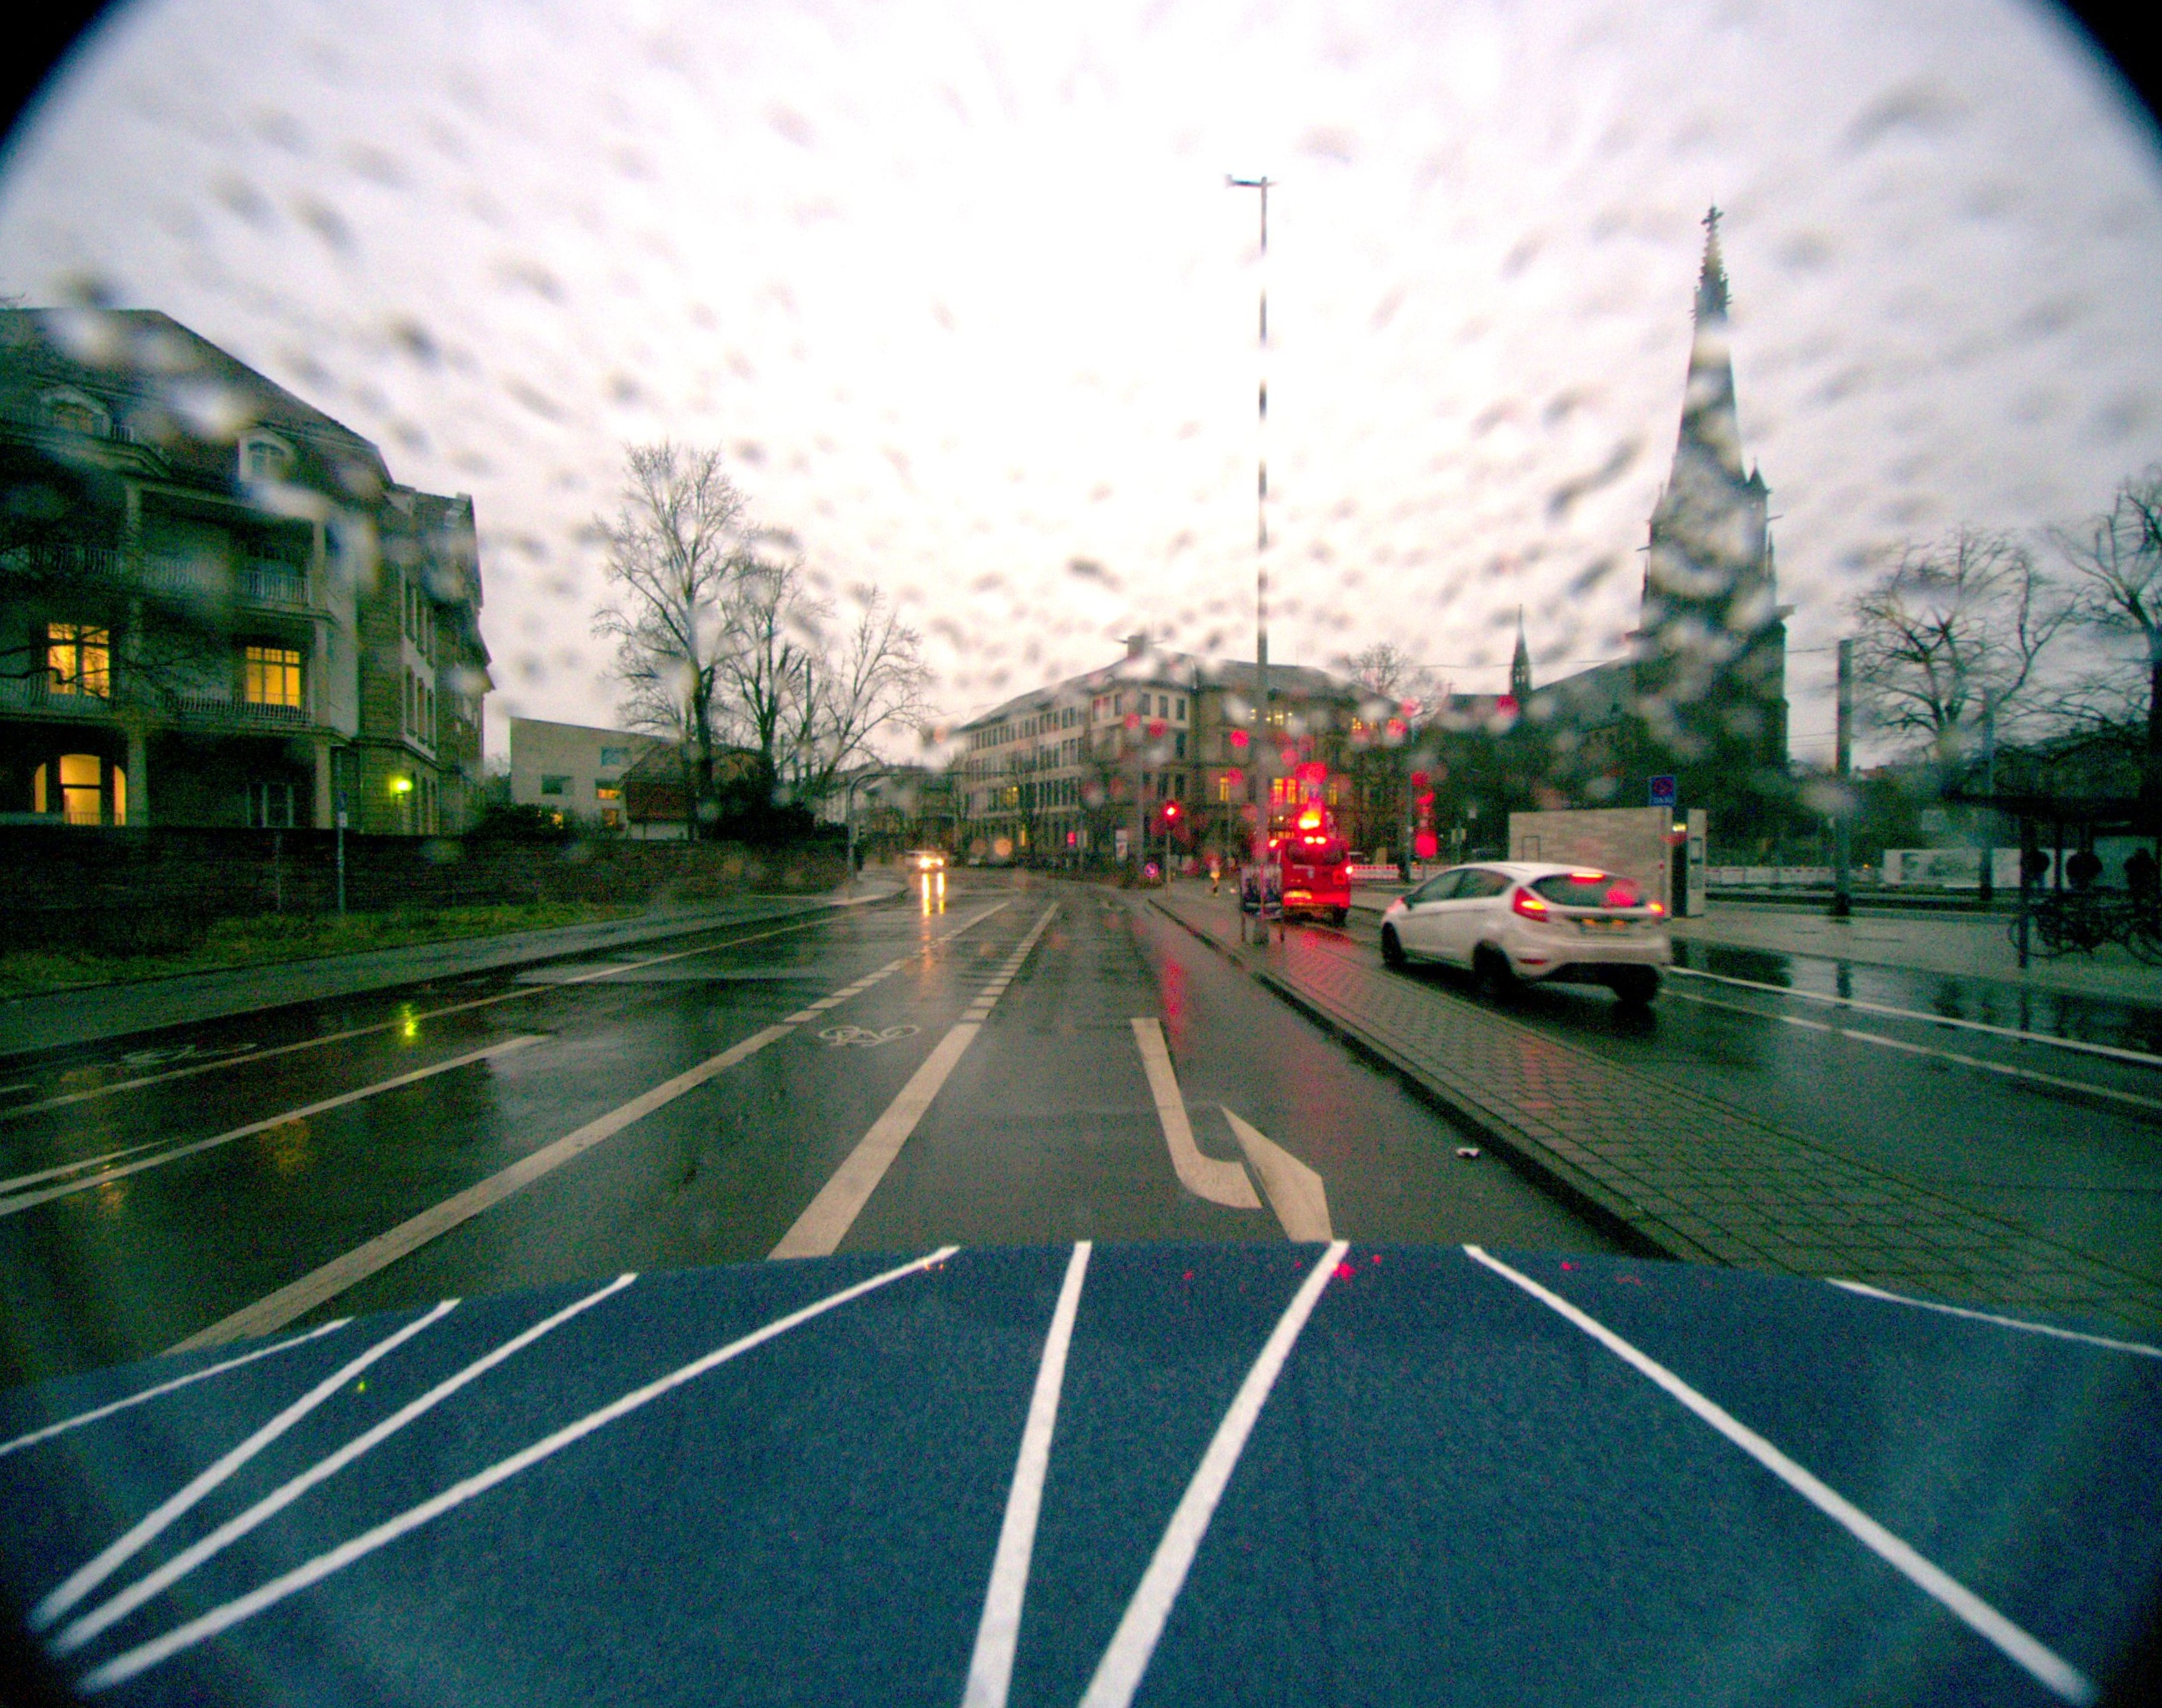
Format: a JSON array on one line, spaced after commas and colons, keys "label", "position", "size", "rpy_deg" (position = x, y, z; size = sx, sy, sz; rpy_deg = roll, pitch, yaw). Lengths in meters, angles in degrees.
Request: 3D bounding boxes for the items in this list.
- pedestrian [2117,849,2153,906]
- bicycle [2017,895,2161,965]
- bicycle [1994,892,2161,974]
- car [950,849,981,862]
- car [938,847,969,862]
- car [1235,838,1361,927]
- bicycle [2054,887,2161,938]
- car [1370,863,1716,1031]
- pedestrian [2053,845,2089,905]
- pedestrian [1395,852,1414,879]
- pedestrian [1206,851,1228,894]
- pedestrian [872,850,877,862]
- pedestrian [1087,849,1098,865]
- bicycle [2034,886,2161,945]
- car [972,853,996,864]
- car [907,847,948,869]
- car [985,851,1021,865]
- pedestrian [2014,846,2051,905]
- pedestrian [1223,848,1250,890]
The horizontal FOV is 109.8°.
[{"label": "pedestrian", "position": [31.051, 0.691, 22.385], "size": [0.541, 1.642, 0.562], "rpy_deg": [-3, 2, -41]}, {"label": "bicycle", "position": [16.620, 1.213, 12.215], "size": [0.475, 0.980, 1.921], "rpy_deg": [-2, 2, -30]}, {"label": "bicycle", "position": [15.502, 1.179, 11.610], "size": [0.475, 1.064, 1.921], "rpy_deg": [-2, 2, -30]}, {"label": "car", "position": [-15.088, 0.198, 99.405], "size": [1.797, 1.541, 4.007], "rpy_deg": [-2, 1, 28]}, {"label": "car", "position": [-16.992, 0.073, 101.470], "size": [2.043, 1.889, 4.007], "rpy_deg": [-2, 1, 28]}, {"label": "car", "position": [5.491, 0.657, 19.942], "size": [1.929, 2.058, 4.643], "rpy_deg": [1, 0, 0]}, {"label": "bicycle", "position": [20.851, 1.160, 15.016], "size": [0.475, 0.905, 1.921], "rpy_deg": [-2, 2, -30]}, {"label": "car", "position": [5.064, 0.902, 9.021], "size": [1.744, 1.440, 3.713], "rpy_deg": [2, 1, -1]}, {"label": "pedestrian", "position": [30.239, 0.641, 23.214], "size": [0.673, 1.785, 0.626], "rpy_deg": [-3, 2, -41]}, {"label": "pedestrian", "position": [21.532, 0.758, 50.554], "size": [0.675, 1.806, 0.896], "rpy_deg": [0, 1, -30]}, {"label": "pedestrian", "position": [5.488, 0.753, 30.742], "size": [0.798, 1.713, 0.674], "rpy_deg": [1, 1, 5]}, {"label": "pedestrian", "position": [-32.567, 0.317, 119.936], "size": [0.548, 2.002, 0.473], "rpy_deg": [0, 1, -34]}, {"label": "pedestrian", "position": [1.244, 0.302, 80.984], "size": [0.829, 1.714, 0.926], "rpy_deg": [0, 0, -37]}, {"label": "bicycle", "position": [19.695, 1.168, 14.426], "size": [0.475, 0.980, 1.921], "rpy_deg": [-2, 2, -30]}, {"label": "car", "position": [-12.131, 0.573, 95.306], "size": [1.706, 1.298, 3.647], "rpy_deg": [-2, 1, 16]}, {"label": "car", "position": [-14.853, 0.411, 73.446], "size": [2.003, 2.002, 4.878], "rpy_deg": [-3, 1, -35]}, {"label": "car", "position": [-9.276, 0.479, 90.535], "size": [1.797, 1.541, 4.007], "rpy_deg": [-1, 1, 45]}, {"label": "pedestrian", "position": [29.546, 0.663, 23.610], "size": [0.828, 1.785, 0.668], "rpy_deg": [-3, 2, -42]}, {"label": "pedestrian", "position": [7.095, 0.666, 34.672], "size": [1.000, 1.890, 0.673], "rpy_deg": [0, 1, -14]}]
